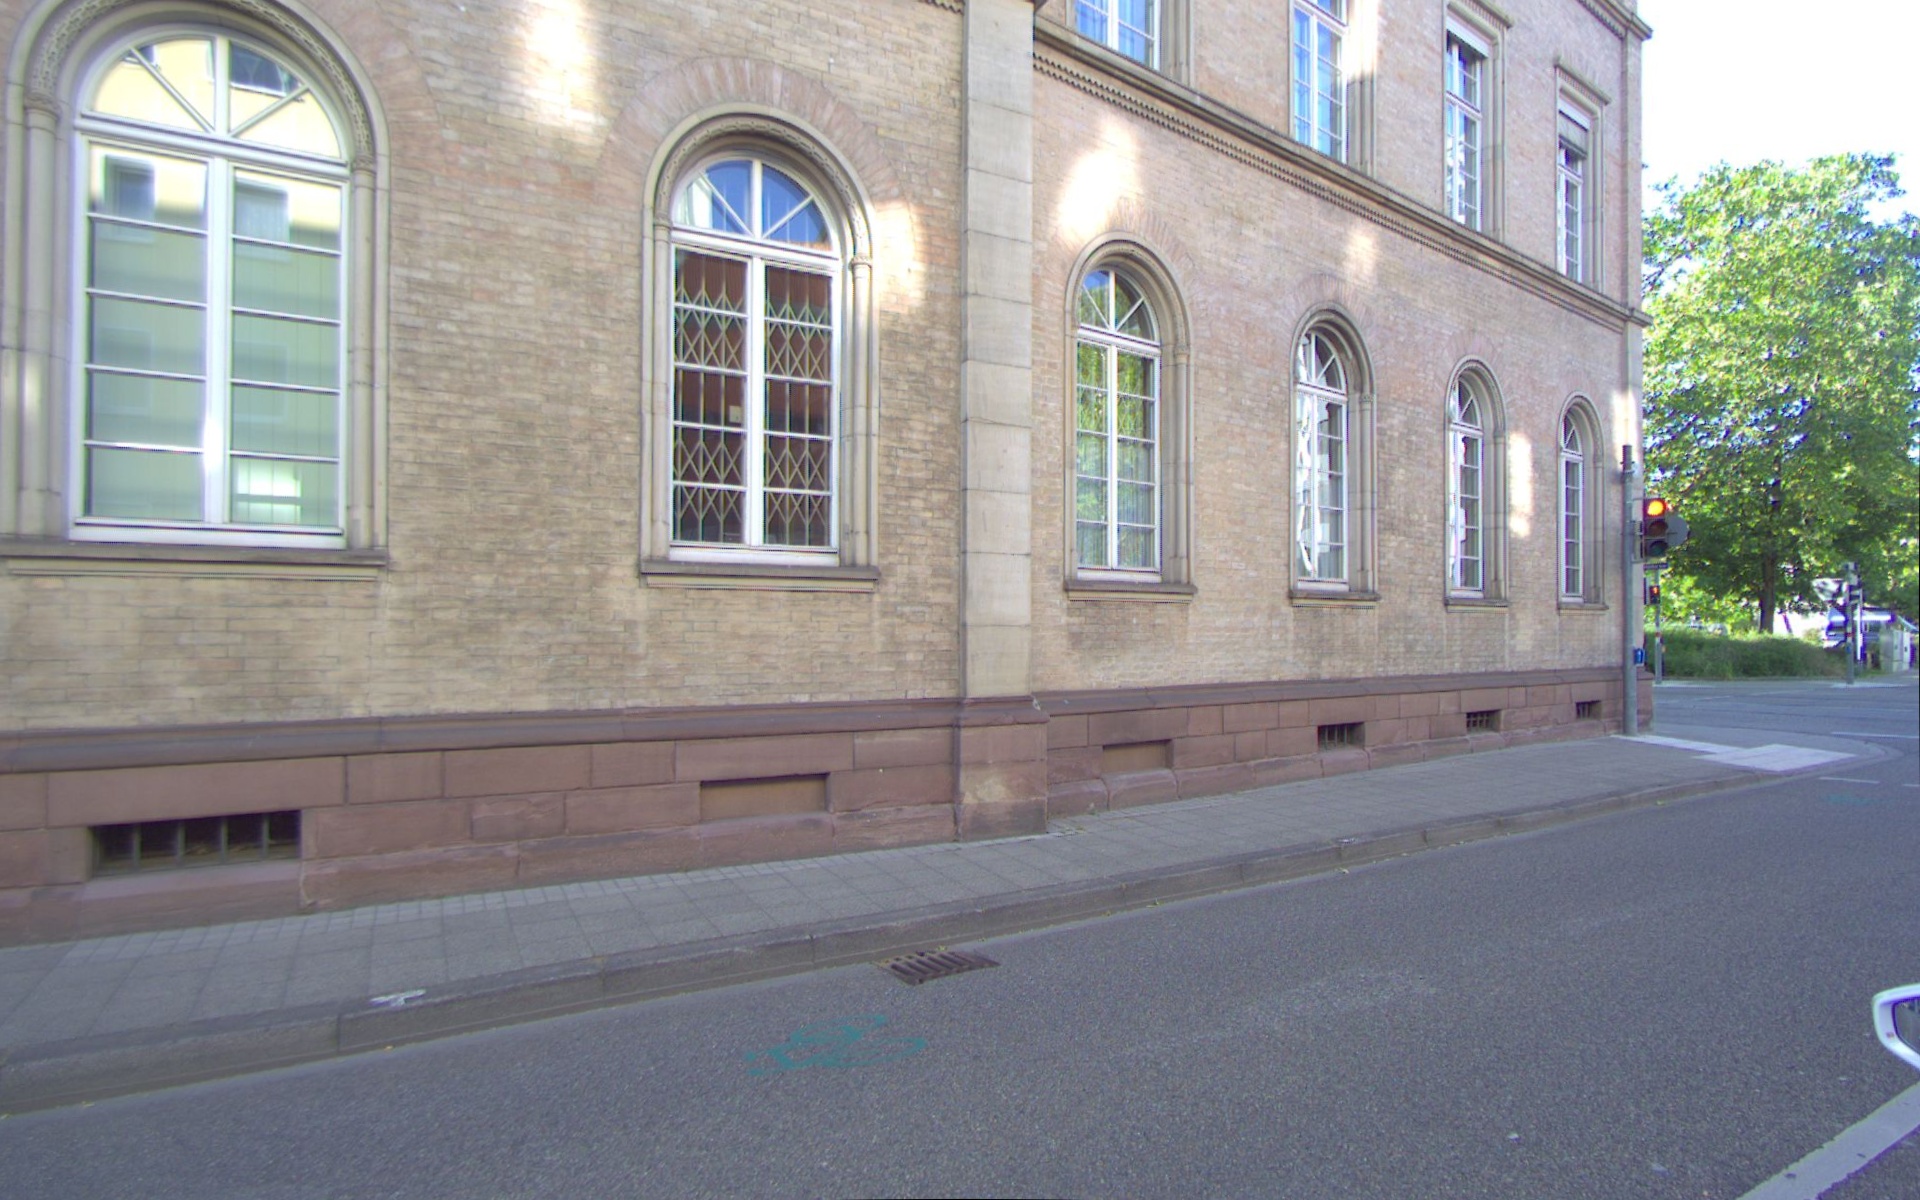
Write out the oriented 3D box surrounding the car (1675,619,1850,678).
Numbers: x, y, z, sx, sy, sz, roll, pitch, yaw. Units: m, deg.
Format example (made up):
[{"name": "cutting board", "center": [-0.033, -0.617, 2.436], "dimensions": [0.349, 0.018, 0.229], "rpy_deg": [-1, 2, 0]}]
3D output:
[{"name": "car", "center": [26.356, 1.549, 33.117], "dimensions": [1.888, 1.801, 4.193], "rpy_deg": [1, -2, -37]}]
